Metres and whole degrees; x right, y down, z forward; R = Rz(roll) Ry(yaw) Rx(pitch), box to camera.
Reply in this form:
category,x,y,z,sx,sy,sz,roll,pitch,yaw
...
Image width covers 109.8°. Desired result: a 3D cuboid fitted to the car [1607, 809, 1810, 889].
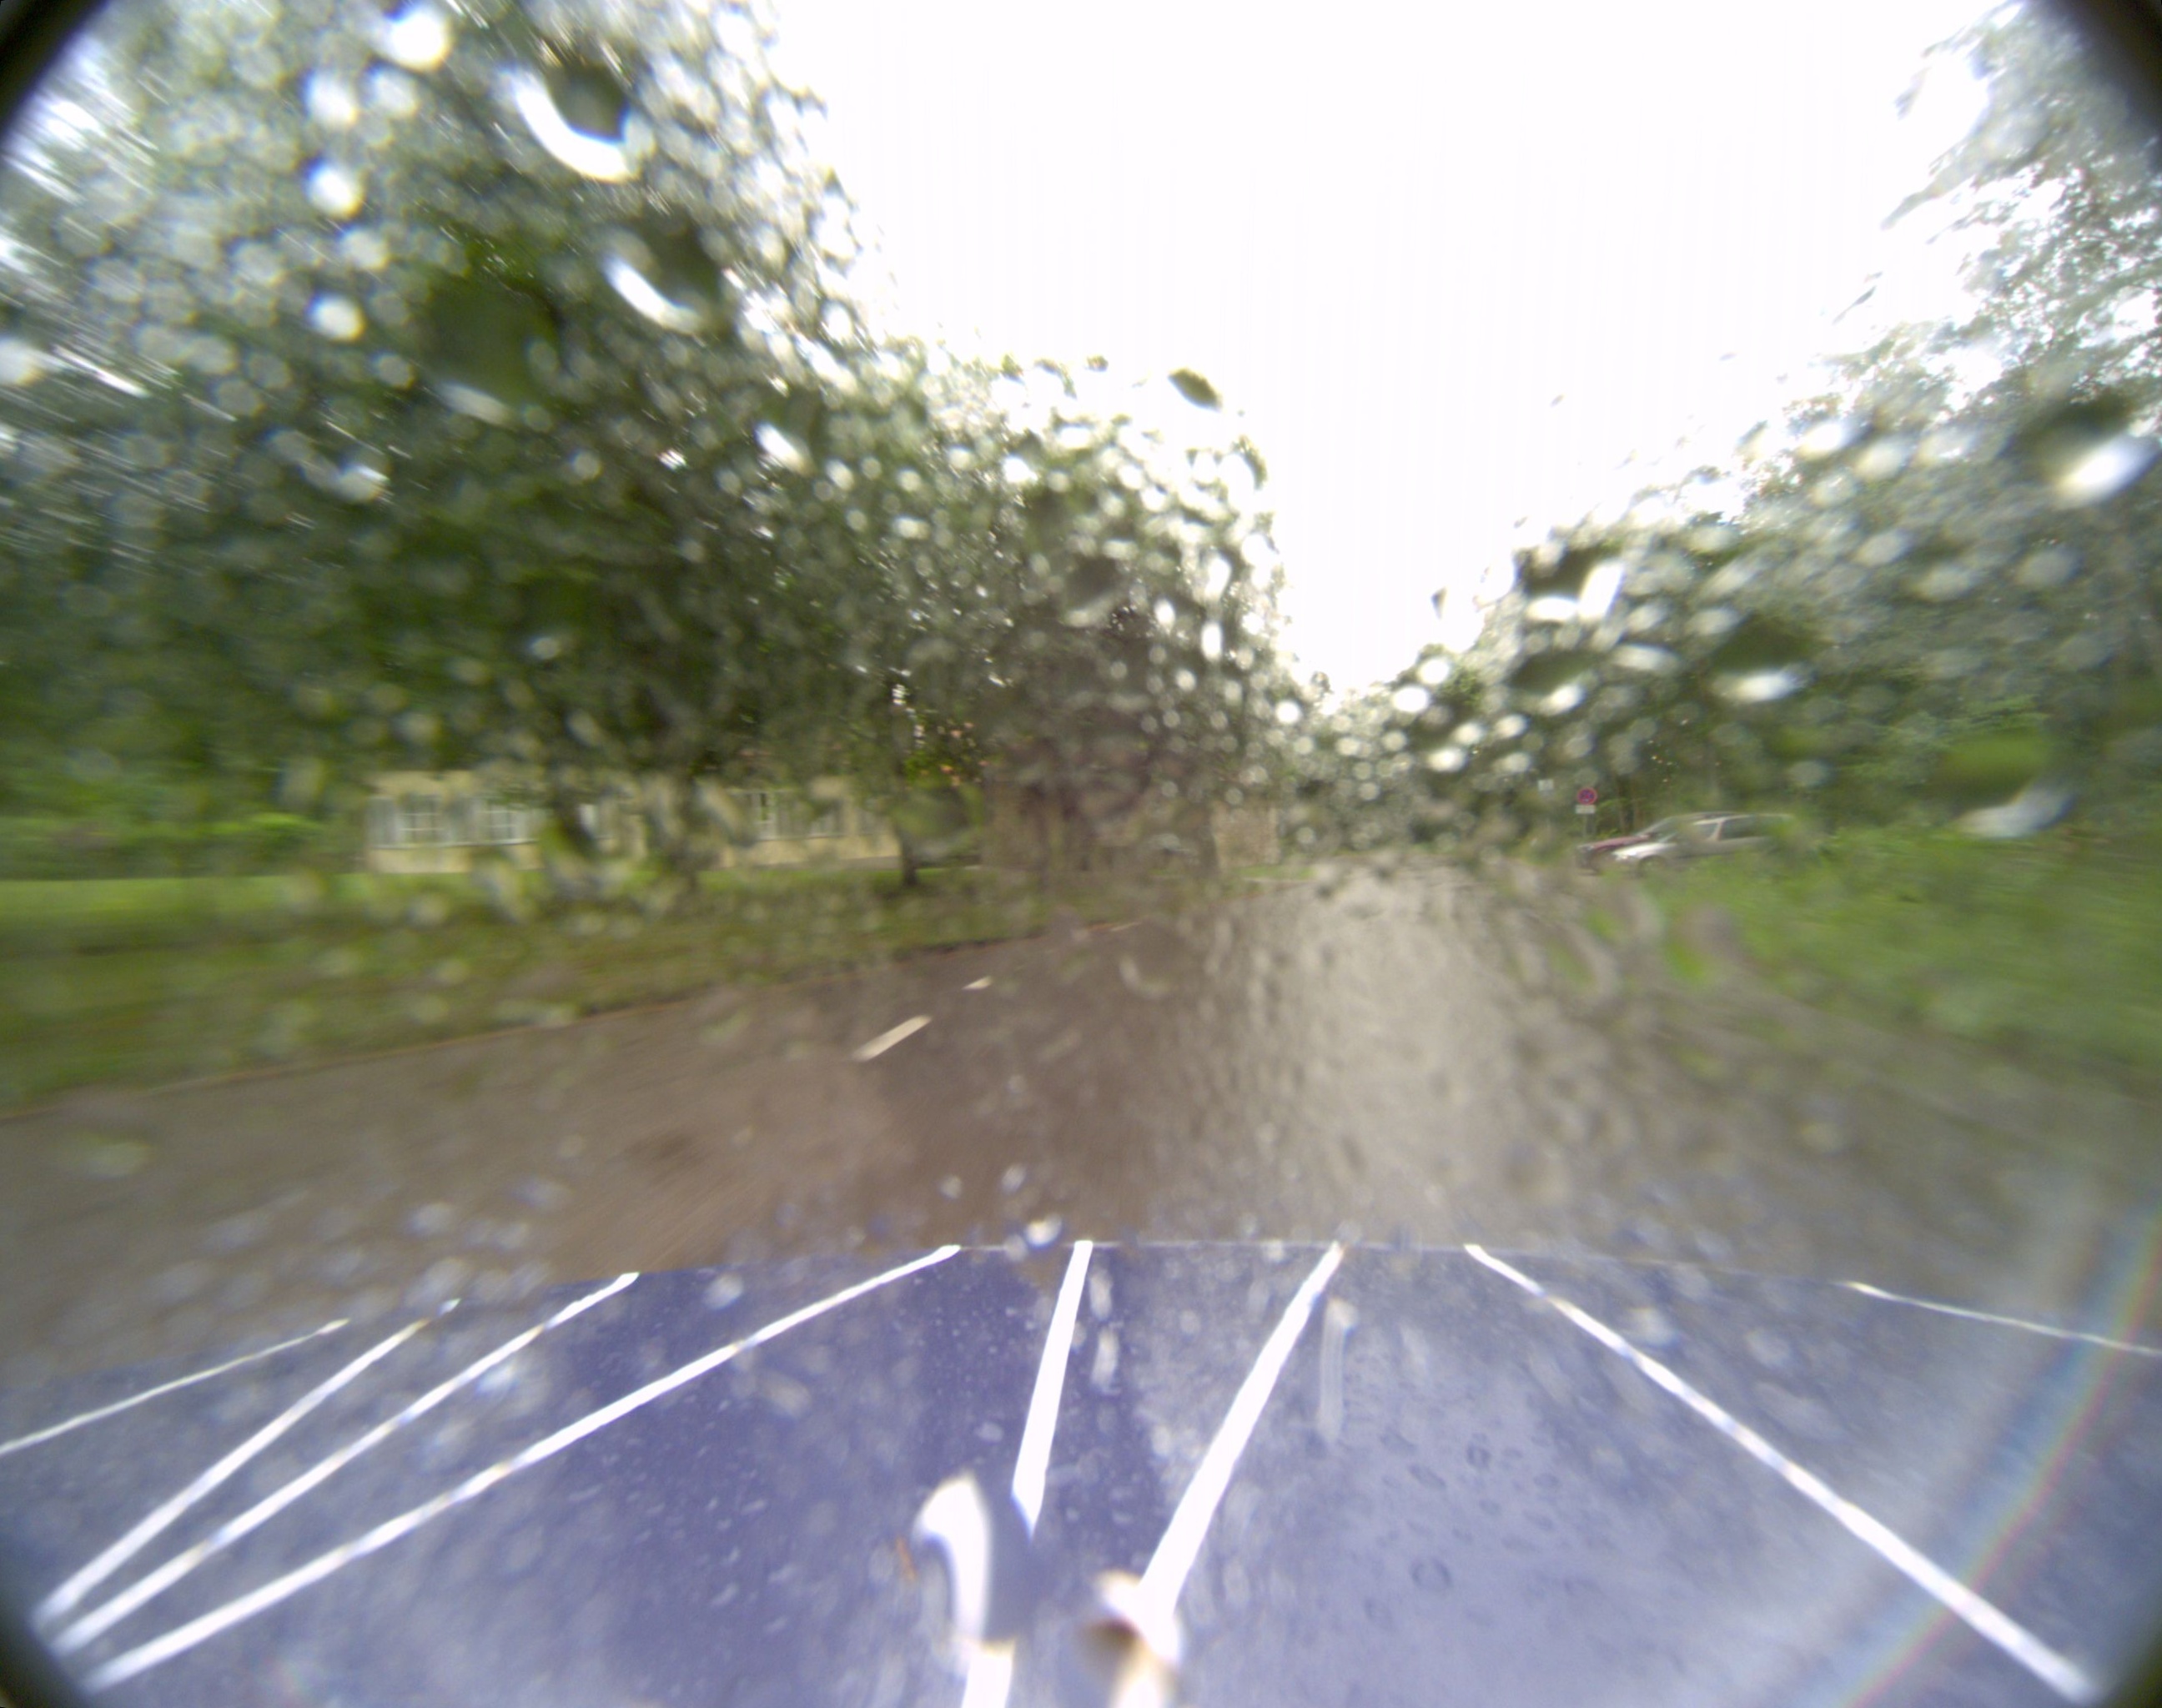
category,x,y,z,sx,sy,sz,roll,pitch,yaw
car,16.956,-0.157,20.833,3.989,2.002,2.004,1,1,30

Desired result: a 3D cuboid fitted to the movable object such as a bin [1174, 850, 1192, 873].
category,x,y,z,sx,sy,sz,roll,pitch,yaw
movable object such as a bin,4.358,0.317,32.436,0.631,0.948,0.761,-2,1,15

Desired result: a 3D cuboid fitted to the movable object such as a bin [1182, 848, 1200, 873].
category,x,y,z,sx,sy,sz,roll,pitch,yaw
movable object such as a bin,4.799,0.292,33.197,0.631,1.068,0.761,-2,1,15

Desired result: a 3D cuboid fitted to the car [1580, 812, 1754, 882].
category,x,y,z,sx,sy,sz,roll,pitch,yaw
car,17.940,-0.225,23.527,3.989,2.002,2.004,1,1,30
